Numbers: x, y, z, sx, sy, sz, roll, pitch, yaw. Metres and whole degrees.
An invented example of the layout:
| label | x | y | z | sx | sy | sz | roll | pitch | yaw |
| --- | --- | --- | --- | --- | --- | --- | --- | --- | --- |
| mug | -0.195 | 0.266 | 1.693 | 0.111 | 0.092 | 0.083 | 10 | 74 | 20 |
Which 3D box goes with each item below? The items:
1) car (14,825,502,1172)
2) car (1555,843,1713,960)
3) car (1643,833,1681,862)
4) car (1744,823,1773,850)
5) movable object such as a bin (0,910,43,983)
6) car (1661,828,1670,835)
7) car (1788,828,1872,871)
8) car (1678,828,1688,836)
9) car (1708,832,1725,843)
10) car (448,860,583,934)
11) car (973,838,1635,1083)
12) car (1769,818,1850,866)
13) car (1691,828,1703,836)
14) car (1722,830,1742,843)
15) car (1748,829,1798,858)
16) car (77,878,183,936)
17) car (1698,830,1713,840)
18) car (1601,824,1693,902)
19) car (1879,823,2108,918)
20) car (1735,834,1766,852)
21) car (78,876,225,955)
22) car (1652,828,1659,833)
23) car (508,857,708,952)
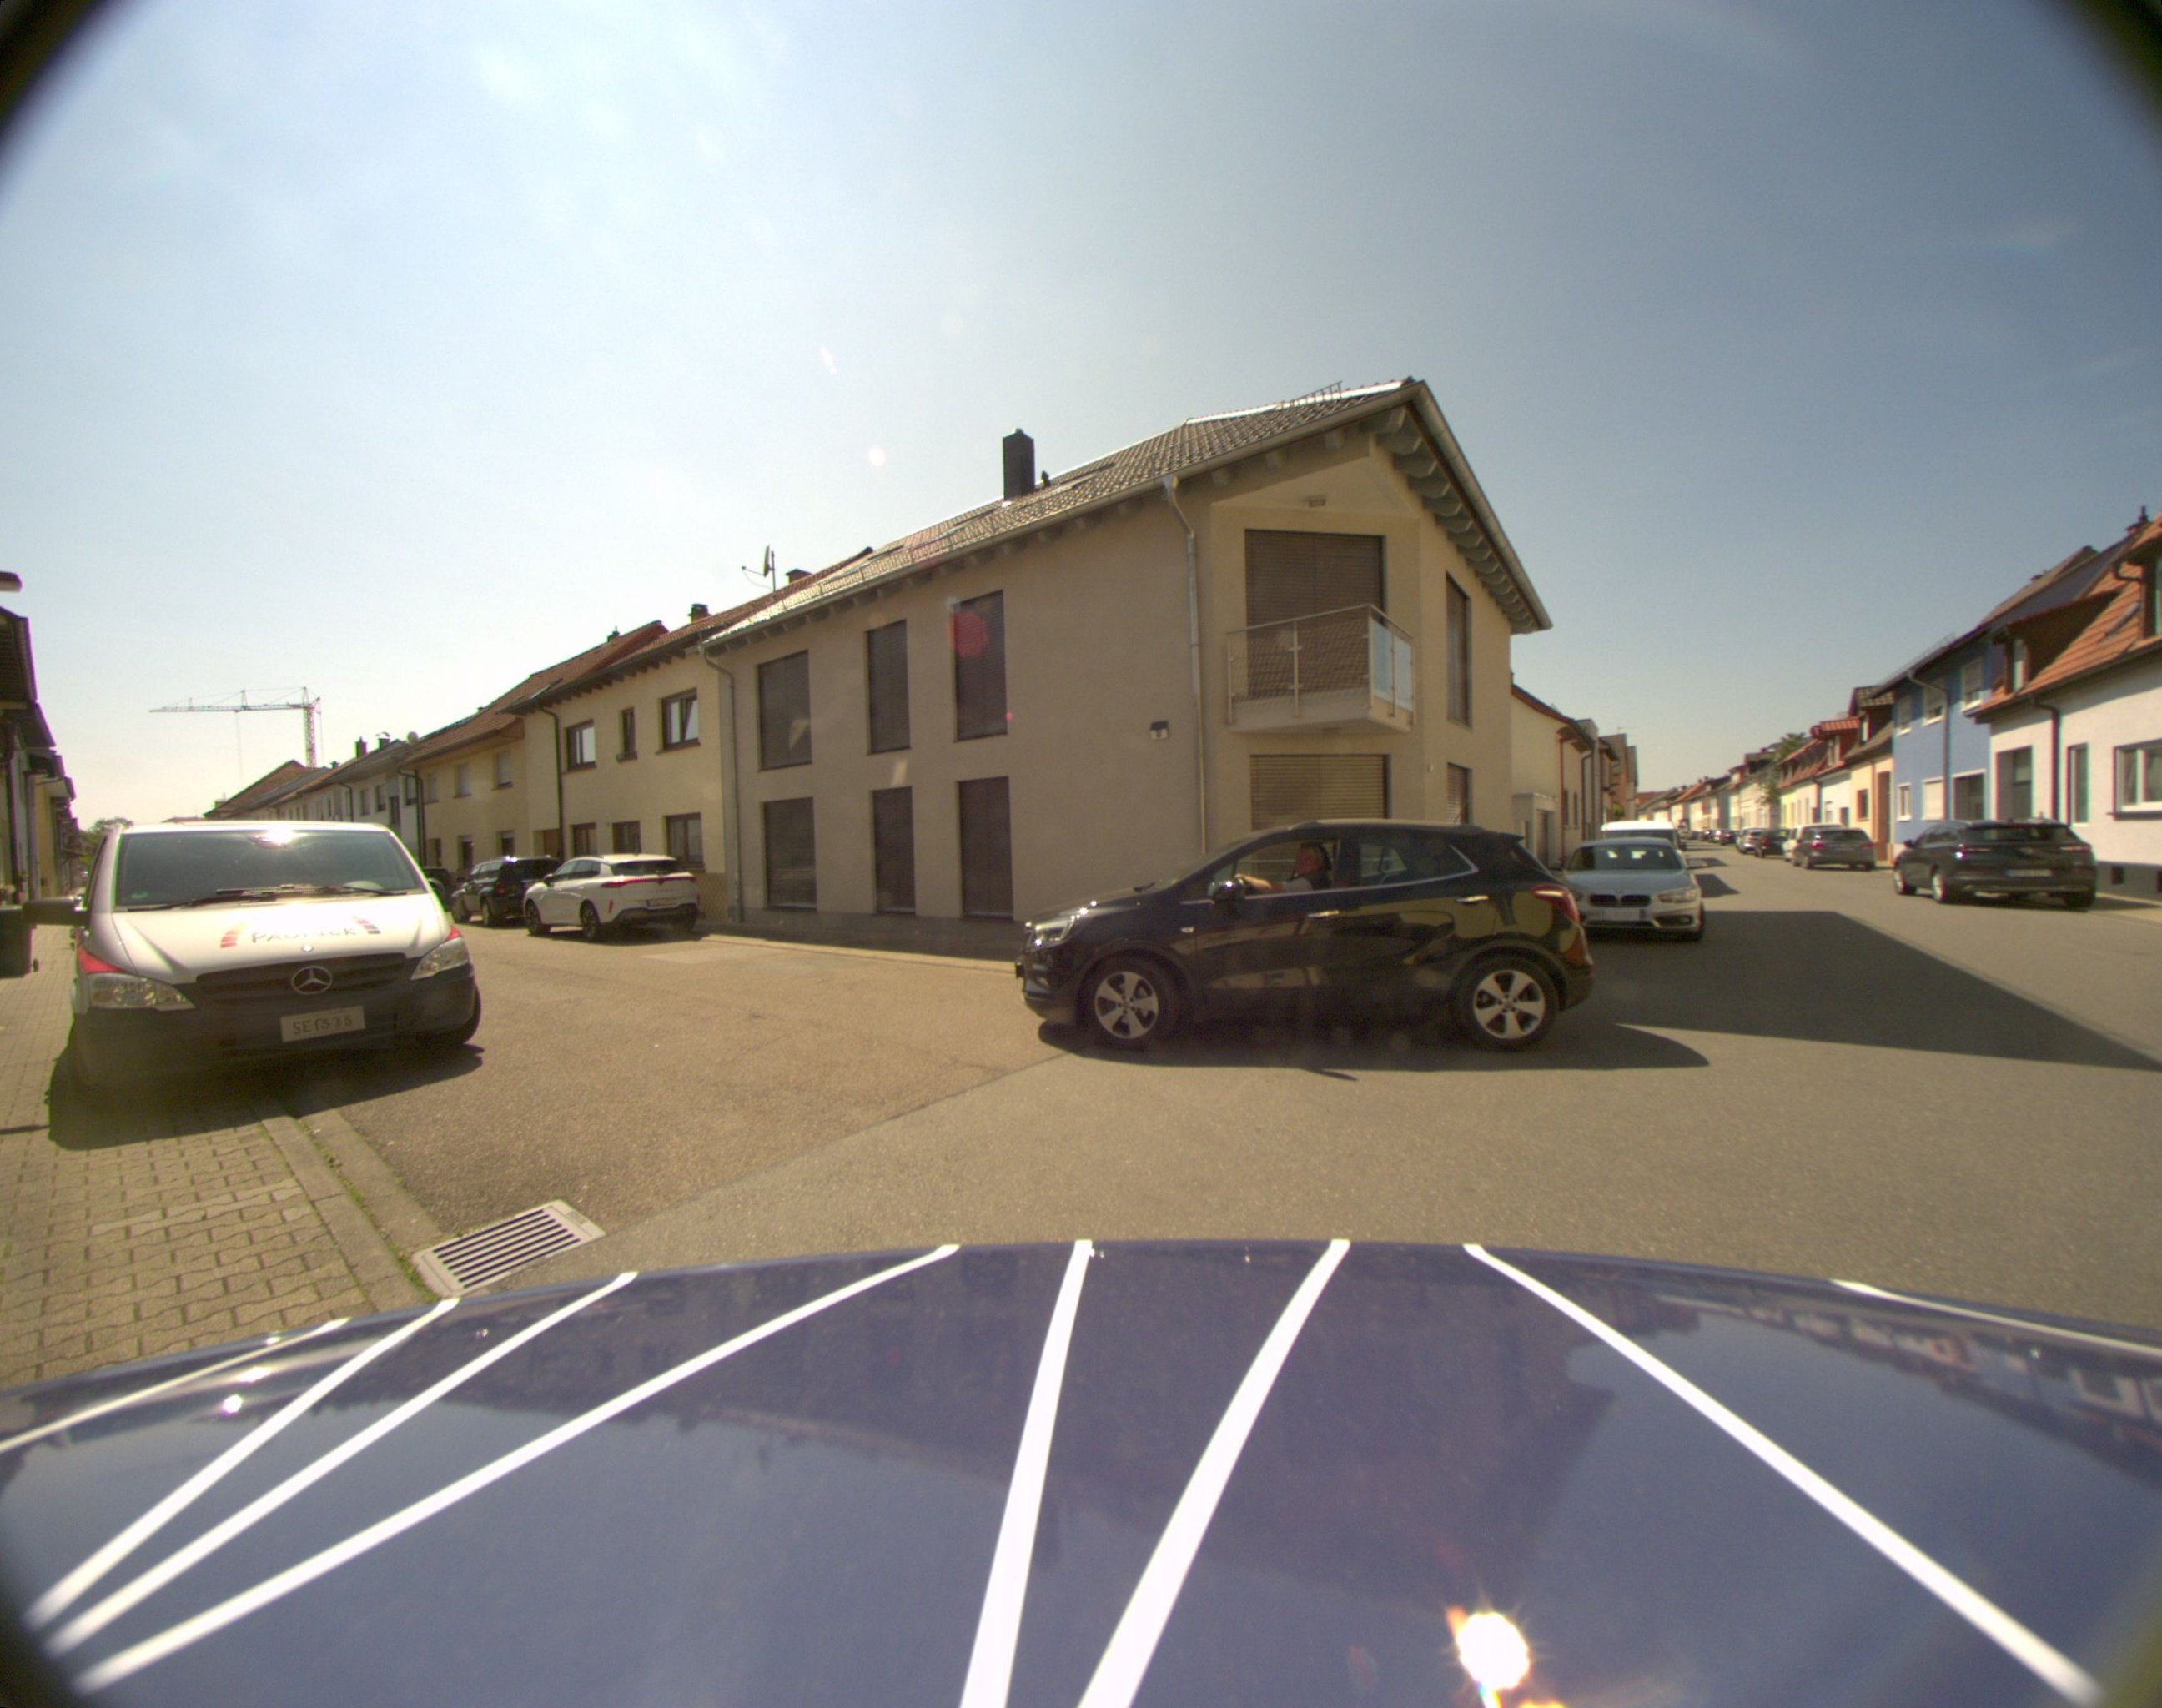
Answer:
| label | x | y | z | sx | sy | sz | roll | pitch | yaw |
| --- | --- | --- | --- | --- | --- | --- | --- | --- | --- |
| car | -7.066 | 0.778 | 6.457 | 5.250 | 1.829 | 2.023 | -1 | 3 | 38 |
| car | 8.396 | 0.596 | 11.520 | 1.635 | 1.360 | 3.935 | -2 | 1 | 37 |
| car | 30.758 | -0.373 | 40.264 | 1.518 | 1.417 | 3.871 | 0 | 1 | 36 |
| car | 47.590 | -1.221 | 53.416 | 1.292 | 1.821 | 2.969 | 0 | 2 | 38 |
| movable object such as a bin | -16.789 | 1.440 | 11.849 | 0.811 | 1.065 | 0.662 | -1 | 2 | 36 |
| car | 116.237 | -4.482 | 151.084 | 1.292 | 1.177 | 2.969 | 0 | 2 | 38 |
| car | 28.216 | -0.209 | 28.739 | 1.720 | 1.493 | 4.223 | 0 | 2 | 37 |
| car | 98.954 | -3.592 | 124.859 | 1.292 | 1.177 | 2.969 | 0 | 2 | 38 |
| car | 67.047 | -1.750 | 80.205 | 1.292 | 1.177 | 2.969 | 0 | 2 | 38 |
| car | -14.093 | 0.990 | 18.871 | 3.977 | 1.606 | 1.731 | -1 | 1 | 39 |
| car | 1.479 | 0.729 | 5.907 | 4.276 | 1.573 | 1.763 | -1 | 0 | 4 |
| car | 33.446 | -0.585 | 35.013 | 1.994 | 2.003 | 4.006 | 0 | 3 | 34 |
| car | 89.852 | -3.178 | 110.838 | 1.292 | 1.177 | 2.969 | 0 | 2 | 38 |
| car | 60.686 | -1.628 | 70.867 | 1.292 | 1.177 | 2.969 | 0 | 2 | 38 |
| car | 38.372 | -0.607 | 42.192 | 1.673 | 1.565 | 4.116 | 0 | 2 | 37 |
| car | -27.844 | 1.477 | 22.229 | 4.091 | 1.427 | 1.705 | -1 | 2 | 36 |
| car | 76.168 | -2.338 | 92.736 | 1.292 | 1.177 | 2.969 | 0 | 2 | 38 |
| car | 13.994 | 0.156 | 18.860 | 1.680 | 1.720 | 3.794 | 0 | 2 | 36 |
| car | 17.658 | 0.230 | 14.979 | 1.845 | 1.605 | 4.007 | 0 | 1 | 34 |
| car | 42.162 | -0.721 | 47.906 | 1.292 | 1.070 | 2.770 | 0 | 2 | 38 |
| car | -21.495 | 1.303 | 17.520 | 4.762 | 1.440 | 1.848 | -1 | 2 | 36 |
| car | 126.970 | -5.146 | 167.933 | 1.292 | 1.177 | 2.969 | 0 | 2 | 38 |
| car | -9.417 | 0.892 | 15.028 | 4.336 | 1.606 | 1.783 | -1 | 1 | 35 |
